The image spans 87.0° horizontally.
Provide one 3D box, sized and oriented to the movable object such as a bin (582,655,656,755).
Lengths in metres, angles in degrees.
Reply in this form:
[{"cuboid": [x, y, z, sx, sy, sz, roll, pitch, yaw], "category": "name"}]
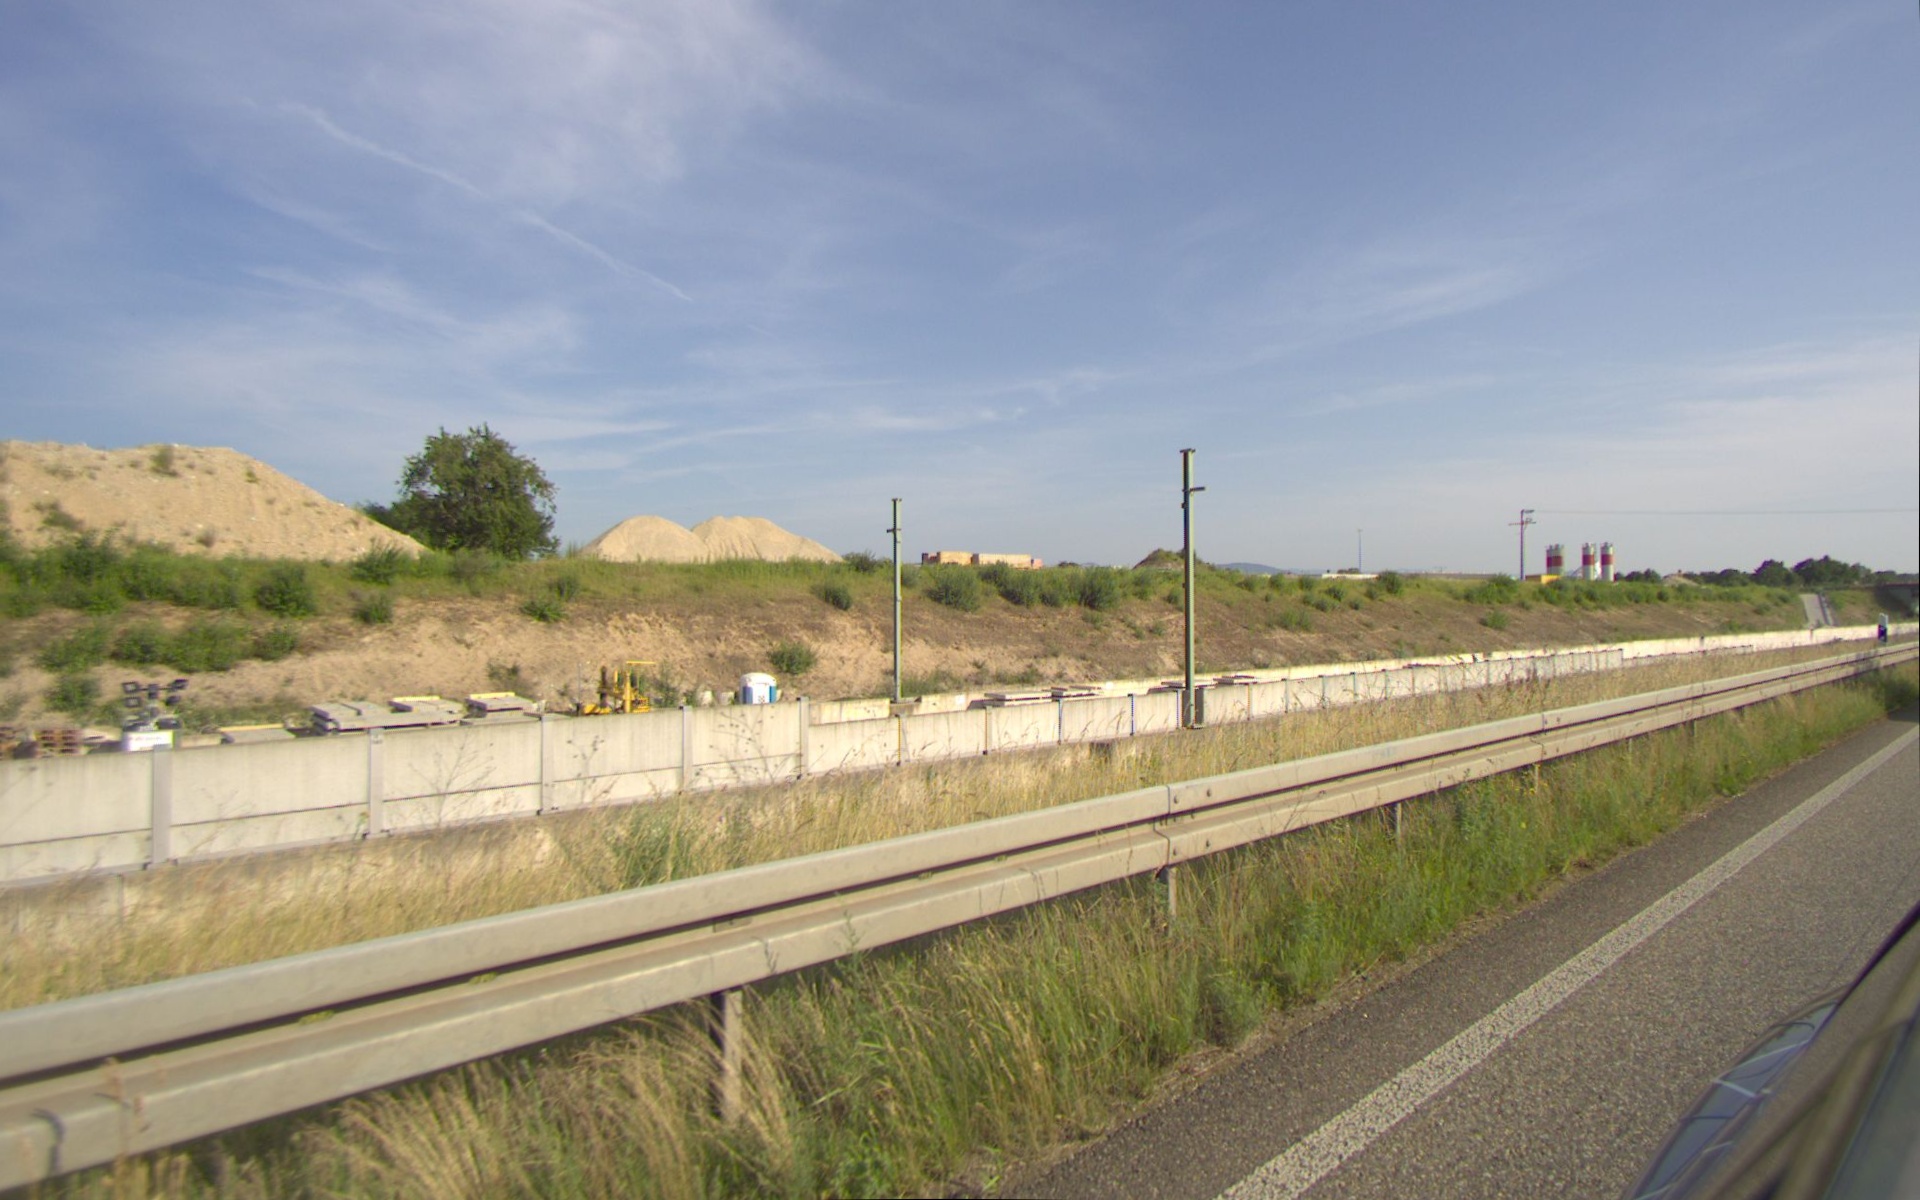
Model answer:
[{"cuboid": [-10.368, 3.132, 30.930, 1.977, 2.695, 2.919, 0, 0, -15], "category": "movable object such as a bin"}]
